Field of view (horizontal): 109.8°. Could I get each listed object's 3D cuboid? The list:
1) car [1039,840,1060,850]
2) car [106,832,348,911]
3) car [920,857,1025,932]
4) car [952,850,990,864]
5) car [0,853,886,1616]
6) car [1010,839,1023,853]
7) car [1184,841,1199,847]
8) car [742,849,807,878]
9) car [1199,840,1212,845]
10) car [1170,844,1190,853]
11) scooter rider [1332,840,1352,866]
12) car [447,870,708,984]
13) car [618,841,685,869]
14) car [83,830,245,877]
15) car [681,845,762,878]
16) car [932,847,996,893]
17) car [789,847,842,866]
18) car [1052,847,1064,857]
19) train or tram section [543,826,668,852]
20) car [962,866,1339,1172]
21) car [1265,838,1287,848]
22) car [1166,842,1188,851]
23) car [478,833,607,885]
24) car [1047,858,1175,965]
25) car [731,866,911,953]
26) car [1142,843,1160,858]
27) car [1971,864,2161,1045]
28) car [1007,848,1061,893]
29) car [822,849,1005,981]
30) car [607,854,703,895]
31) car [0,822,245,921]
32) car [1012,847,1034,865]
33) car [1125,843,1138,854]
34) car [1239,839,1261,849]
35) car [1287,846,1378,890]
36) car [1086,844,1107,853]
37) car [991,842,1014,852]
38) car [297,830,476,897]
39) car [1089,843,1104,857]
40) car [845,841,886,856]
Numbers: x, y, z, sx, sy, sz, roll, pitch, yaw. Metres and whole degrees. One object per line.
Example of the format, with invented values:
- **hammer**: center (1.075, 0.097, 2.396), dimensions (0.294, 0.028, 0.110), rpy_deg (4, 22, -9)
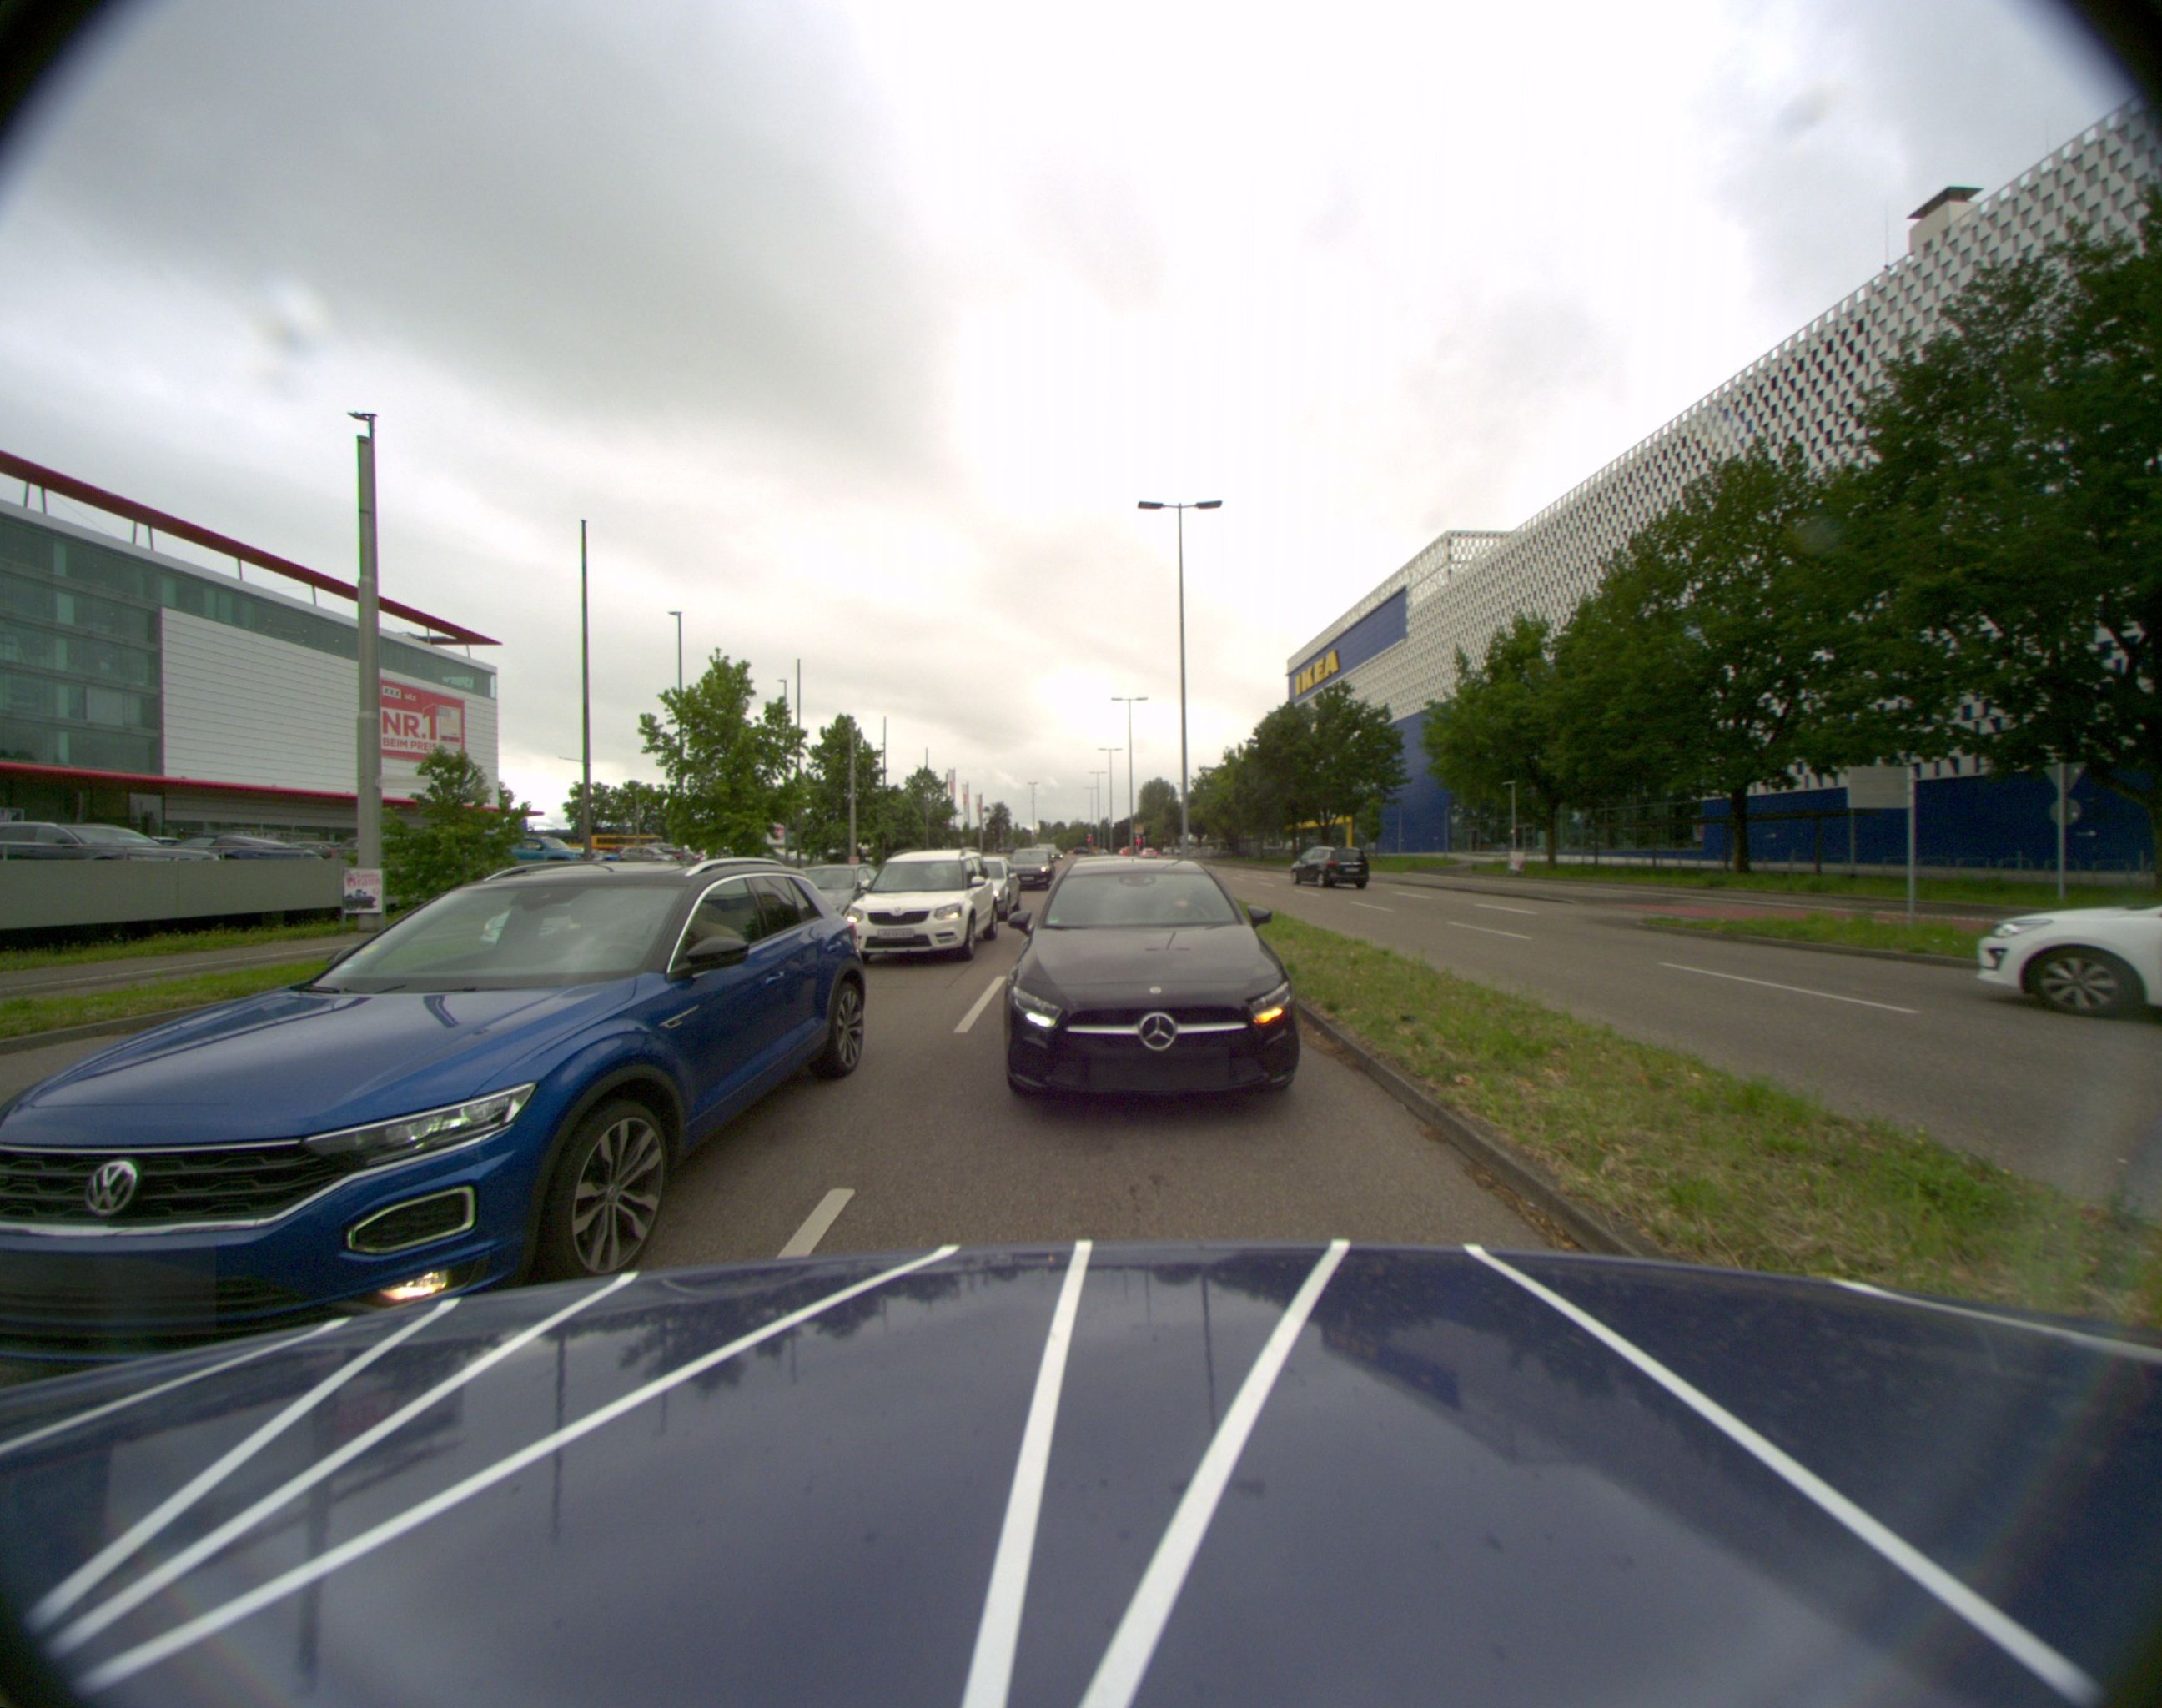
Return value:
- **car**: center (-7.302, -2.094, 176.836), dimensions (4.711, 2.002, 1.998), rpy_deg (-2, 1, -10)
- **car**: center (-22.598, 0.420, 20.264), dimensions (3.998, 1.838, 1.999), rpy_deg (-2, 1, -2)
- **car**: center (-2.461, 0.872, 18.222), dimensions (1.801, 1.408, 4.218), rpy_deg (-2, 1, 1)
- **car**: center (-13.014, 0.354, 89.866), dimensions (4.216, 1.408, 1.802), rpy_deg (-2, 1, 0)
- **car**: center (-2.564, 0.876, 3.859), dimensions (1.846, 1.613, 4.331), rpy_deg (-2, 1, 2)
- **car**: center (-10.285, -1.313, 121.485), dimensions (1.999, 2.229, 3.999), rpy_deg (-1, 0, -2)
- **car**: center (34.738, -3.147, 239.523), dimensions (4.290, 1.813, 1.743), rpy_deg (-2, 1, -3)
- **car**: center (-23.122, 0.705, 57.404), dimensions (3.997, 2.002, 1.999), rpy_deg (-2, 1, 0)
- **car**: center (39.360, -3.684, 239.762), dimensions (3.565, 1.631, 1.743), rpy_deg (-2, 1, -3)
- **car**: center (22.567, -1.250, 173.326), dimensions (3.997, 2.002, 1.999), rpy_deg (-2, 1, -2)
- **scooter rider**: center (17.805, -0.080, 51.786), dimensions (0.797, 1.710, 1.038), rpy_deg (-2, 1, -16)
- **car**: center (-7.984, 1.066, 12.570), dimensions (1.694, 1.364, 3.925), rpy_deg (-2, 1, -1)
- **car**: center (-33.700, 0.051, 59.706), dimensions (3.997, 2.002, 1.999), rpy_deg (-2, 1, -2)
- **car**: center (-37.674, -0.026, 31.315), dimensions (3.998, 1.729, 1.999), rpy_deg (-2, 1, -2)
- **car**: center (-23.933, 0.463, 50.714), dimensions (4.324, 2.002, 1.999), rpy_deg (-2, 1, -2)
- **car**: center (-4.750, 0.599, 31.391), dimensions (1.798, 1.616, 4.374), rpy_deg (-2, 1, 2)
- **car**: center (-23.483, 0.203, 67.239), dimensions (3.997, 1.556, 1.796), rpy_deg (-2, 1, 1)
- **car**: center (-3.754, -0.326, 125.158), dimensions (1.801, 1.408, 4.218), rpy_deg (-2, 1, 1)
- **train or tram section**: center (-99.710, -3.127, 159.530), dimensions (23.274, 4.811, 3.631), rpy_deg (-1, 1, -3)
- **car**: center (0.385, 0.871, 5.951), dimensions (1.859, 1.426, 4.196), rpy_deg (-2, 0, 1)
- **car**: center (41.289, -2.358, 160.656), dimensions (3.999, 1.805, 1.998), rpy_deg (-2, 1, -7)
- **car**: center (19.489, -1.490, 154.659), dimensions (3.999, 1.786, 1.999), rpy_deg (-1, 0, -6)
- **car**: center (-23.075, 0.194, 32.712), dimensions (3.997, 2.002, 1.999), rpy_deg (-2, 1, -2)
- **car**: center (0.462, 0.833, 12.976), dimensions (1.767, 1.370, 4.258), rpy_deg (-2, 1, 1)
- **car**: center (-5.028, 0.996, 15.508), dimensions (1.816, 1.402, 4.878), rpy_deg (-2, -1, 2)
- **car**: center (9.100, -0.477, 99.553), dimensions (1.847, 1.876, 3.923), rpy_deg (-2, 1, -1)
- **car**: center (9.904, 0.844, 5.603), dimensions (1.788, 1.444, 3.926), rpy_deg (0, 1, -18)
- **car**: center (-1.858, 0.615, 31.063), dimensions (1.801, 1.565, 4.218), rpy_deg (-2, 1, 1)
- **car**: center (-2.429, 0.798, 12.227), dimensions (1.798, 1.616, 4.374), rpy_deg (-2, 1, 2)
- **car**: center (-23.279, 1.071, 41.635), dimensions (3.997, 2.002, 1.999), rpy_deg (-2, 1, -2)
- **car**: center (-22.505, 0.381, 17.276), dimensions (4.529, 2.002, 1.999), rpy_deg (-2, 1, -2)
- **car**: center (-5.815, 0.230, 76.759), dimensions (1.801, 1.564, 4.220), rpy_deg (-2, -2, 1)
- **car**: center (8.622, -0.899, 129.393), dimensions (1.847, 1.709, 3.923), rpy_deg (-2, 1, -1)
- **car**: center (30.600, -1.876, 137.690), dimensions (3.565, 1.631, 1.743), rpy_deg (-2, 1, -3)
- **car**: center (10.225, 0.510, 31.291), dimensions (1.848, 1.646, 4.358), rpy_deg (1, 1, -6)
- **car**: center (3.631, -1.295, 178.708), dimensions (4.711, 1.738, 1.998), rpy_deg (-2, 1, -10)
- **car**: center (-18.389, -1.637, 178.220), dimensions (5.089, 2.002, 1.999), rpy_deg (-2, 1, -2)
- **car**: center (-23.240, 0.280, 25.557), dimensions (3.997, 2.002, 1.999), rpy_deg (-2, 1, -2)
- **car**: center (2.430, -0.649, 119.373), dimensions (1.999, 2.207, 3.999), rpy_deg (-1, 0, -2)
- **car**: center (-23.990, -0.623, 84.706), dimensions (3.997, 1.556, 1.796), rpy_deg (-2, 1, 1)
